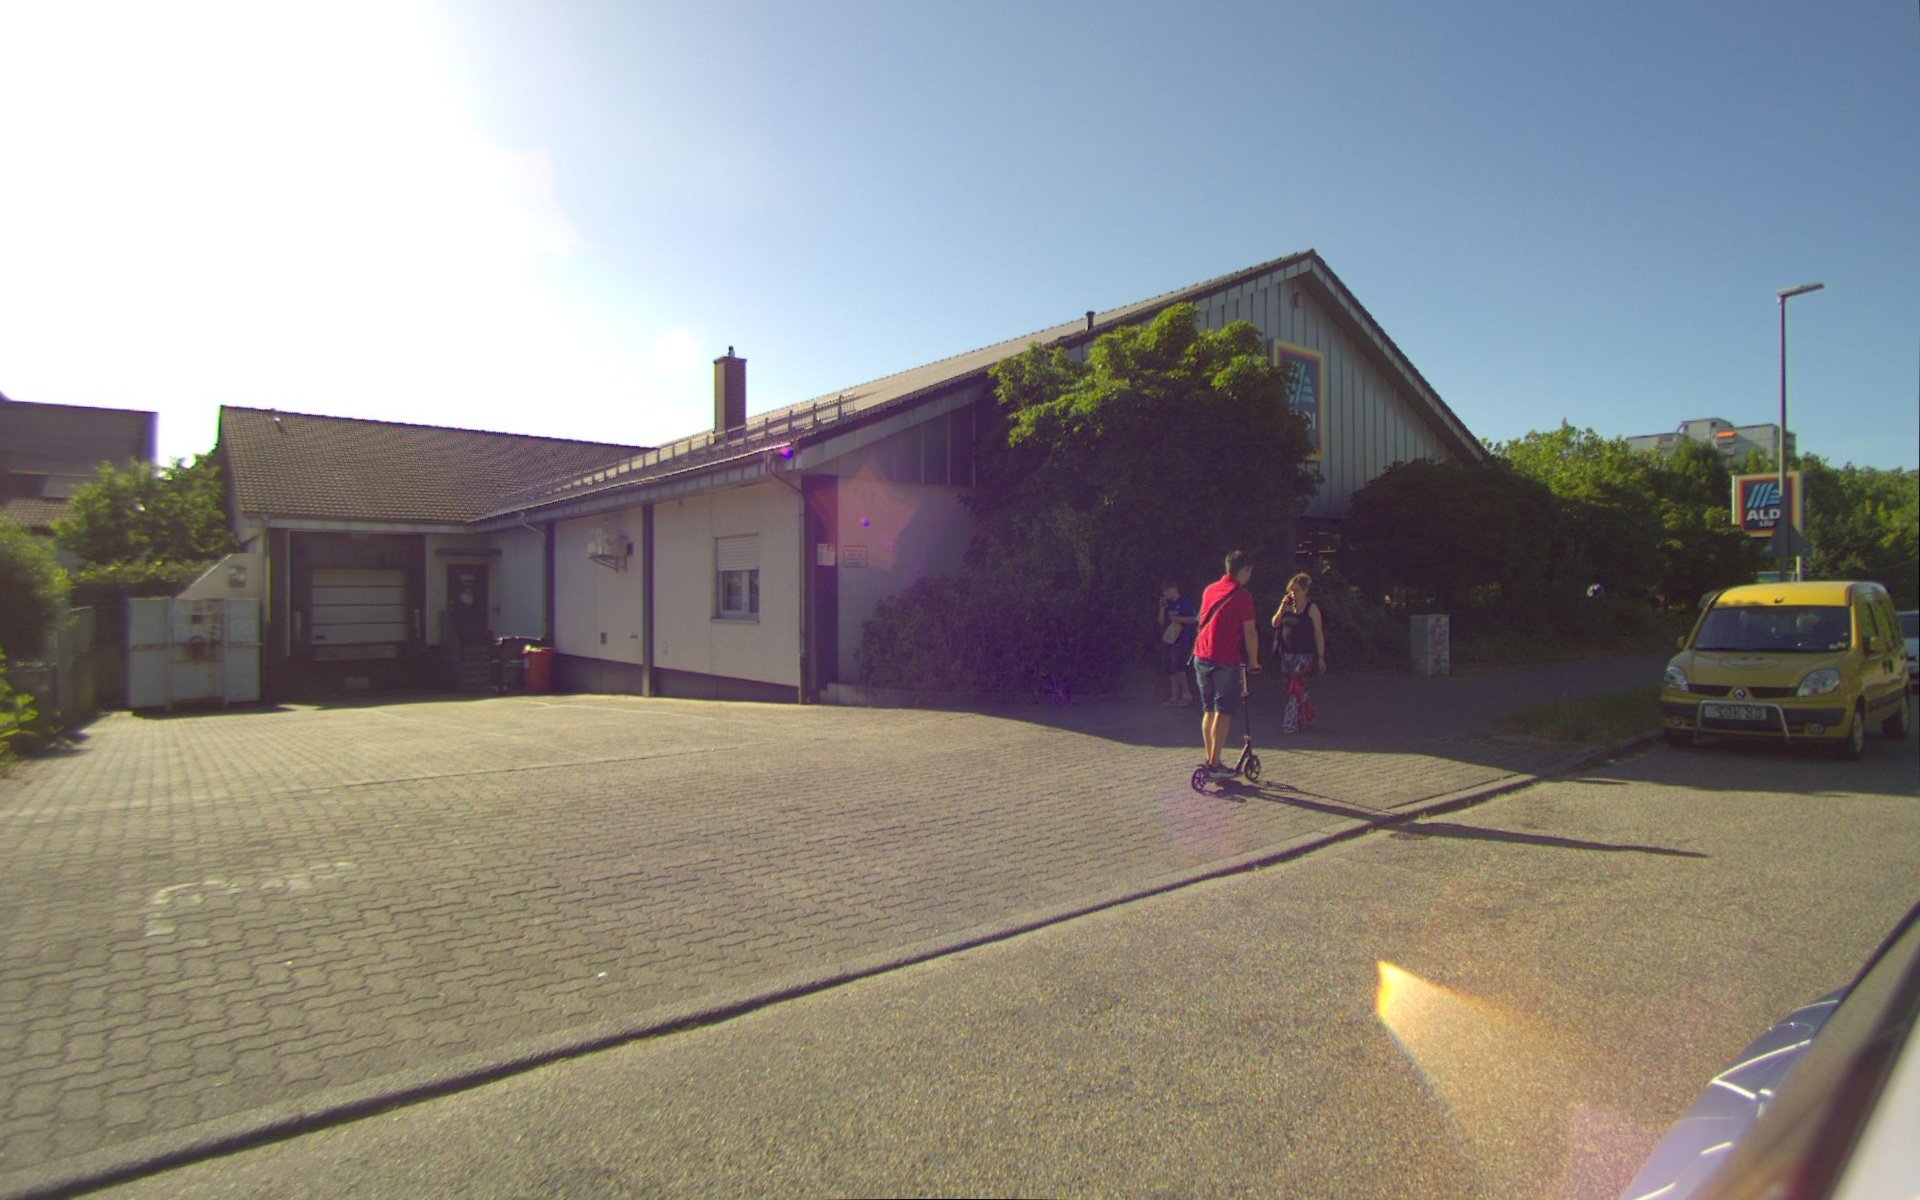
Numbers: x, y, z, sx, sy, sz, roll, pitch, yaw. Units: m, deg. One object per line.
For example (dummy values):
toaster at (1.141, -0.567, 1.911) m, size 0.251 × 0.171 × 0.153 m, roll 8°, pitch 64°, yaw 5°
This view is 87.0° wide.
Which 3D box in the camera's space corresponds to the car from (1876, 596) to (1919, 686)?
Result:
car at (18.073, 0.696, 18.357) m, size 3.911 × 1.506 × 1.620 m, roll -1°, pitch 0°, yaw -40°

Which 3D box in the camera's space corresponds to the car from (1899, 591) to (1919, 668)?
car at (22.295, 0.609, 22.108) m, size 4.495 × 1.617 × 1.998 m, roll 0°, pitch 0°, yaw -39°

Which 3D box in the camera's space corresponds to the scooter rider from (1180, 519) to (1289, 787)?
scooter rider at (2.188, 0.391, 8.081) m, size 0.478 × 2.038 × 0.598 m, roll 0°, pitch 4°, yaw -45°

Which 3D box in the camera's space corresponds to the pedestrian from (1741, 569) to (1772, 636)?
pedestrian at (21.622, 0.068, 27.481) m, size 0.579 × 1.790 × 0.541 m, roll 0°, pitch 0°, yaw -40°

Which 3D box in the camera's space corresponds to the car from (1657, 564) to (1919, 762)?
car at (9.240, 0.555, 11.104) m, size 3.911 × 1.799 × 1.620 m, roll -1°, pitch 0°, yaw -40°

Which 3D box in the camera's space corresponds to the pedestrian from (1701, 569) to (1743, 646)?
pedestrian at (18.009, 0.166, 23.907) m, size 0.579 × 1.790 × 0.672 m, roll 0°, pitch 0°, yaw -40°

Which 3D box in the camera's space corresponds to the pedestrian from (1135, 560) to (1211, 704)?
pedestrian at (2.612, 0.373, 12.399) m, size 0.632 × 1.684 × 0.583 m, roll 0°, pitch 4°, yaw -42°

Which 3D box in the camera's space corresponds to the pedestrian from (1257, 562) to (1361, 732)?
pedestrian at (3.752, 0.470, 10.866) m, size 0.881 × 1.709 × 0.634 m, roll 0°, pitch 4°, yaw -42°

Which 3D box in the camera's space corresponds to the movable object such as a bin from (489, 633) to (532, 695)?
movable object such as a bin at (-10.433, 1.463, 23.488) m, size 0.743 × 1.373 × 0.660 m, roll 0°, pitch 0°, yaw -40°

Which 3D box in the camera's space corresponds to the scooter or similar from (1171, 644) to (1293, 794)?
scooter or similar at (2.196, 0.918, 8.129) m, size 0.456 × 1.043 × 1.033 m, roll 5°, pitch 4°, yaw 45°

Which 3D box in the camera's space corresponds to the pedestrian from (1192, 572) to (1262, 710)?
pedestrian at (3.132, 0.459, 11.877) m, size 0.654 × 1.551 × 0.447 m, roll 0°, pitch 4°, yaw -42°
